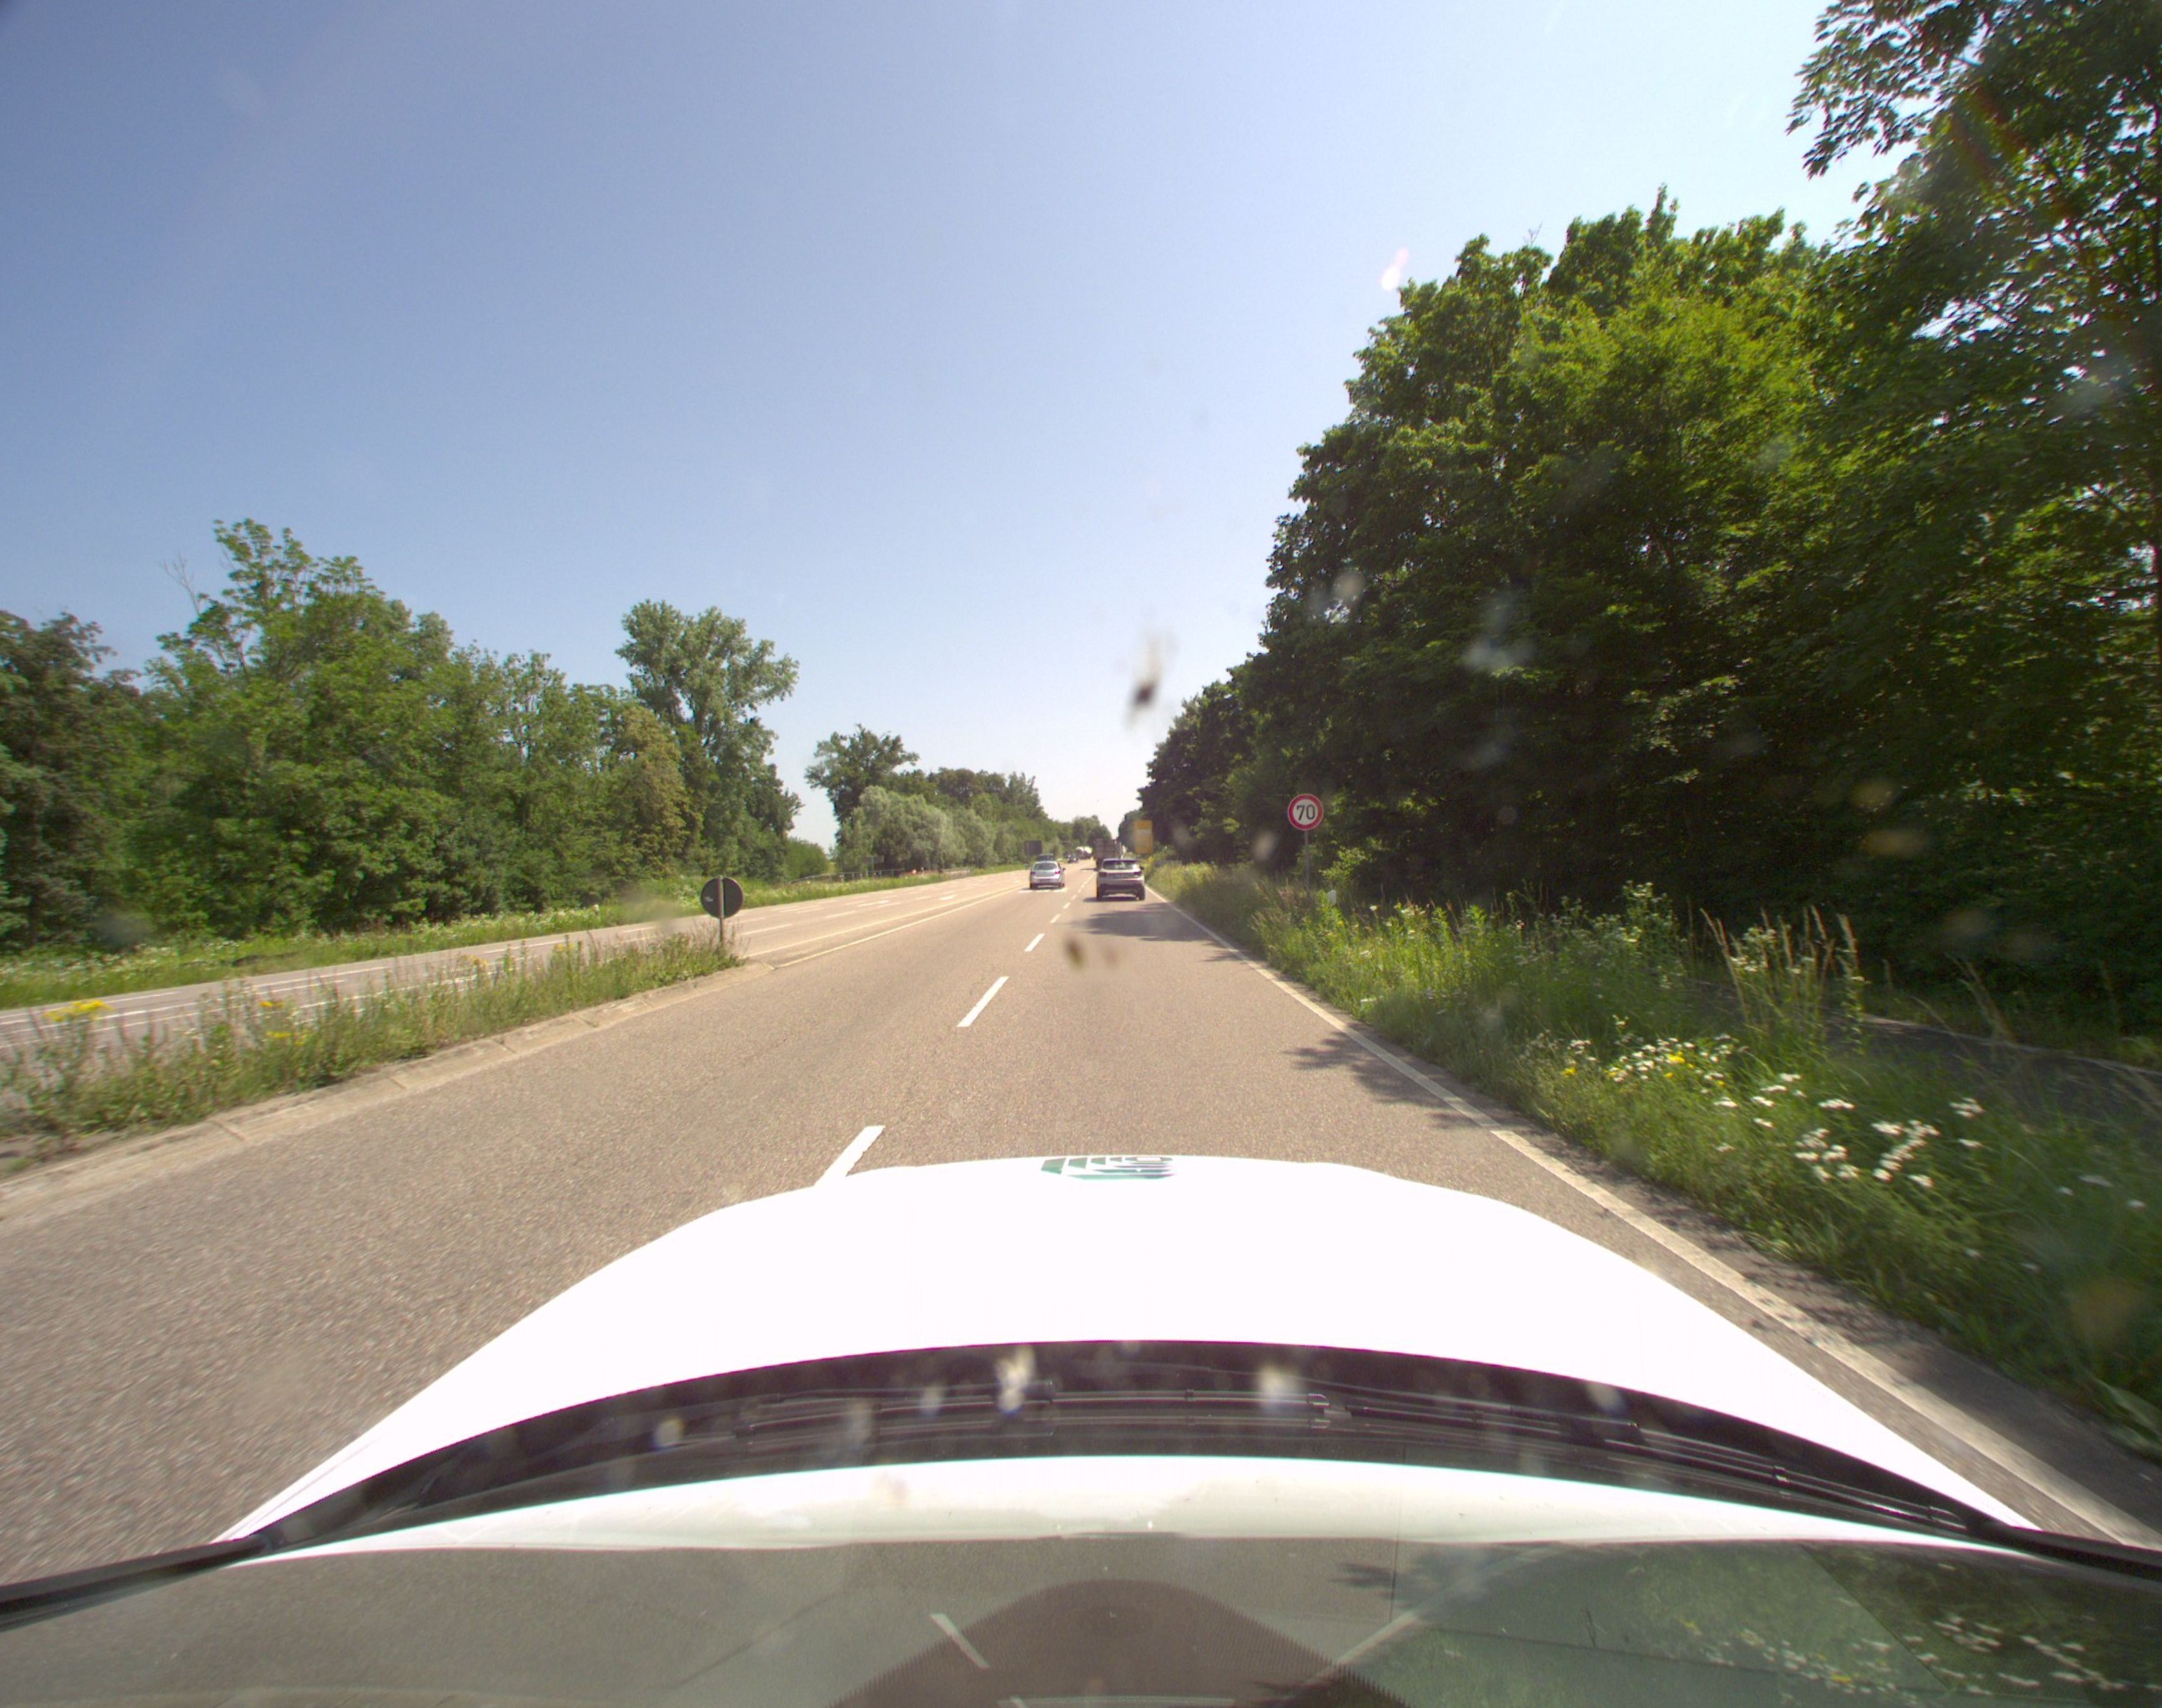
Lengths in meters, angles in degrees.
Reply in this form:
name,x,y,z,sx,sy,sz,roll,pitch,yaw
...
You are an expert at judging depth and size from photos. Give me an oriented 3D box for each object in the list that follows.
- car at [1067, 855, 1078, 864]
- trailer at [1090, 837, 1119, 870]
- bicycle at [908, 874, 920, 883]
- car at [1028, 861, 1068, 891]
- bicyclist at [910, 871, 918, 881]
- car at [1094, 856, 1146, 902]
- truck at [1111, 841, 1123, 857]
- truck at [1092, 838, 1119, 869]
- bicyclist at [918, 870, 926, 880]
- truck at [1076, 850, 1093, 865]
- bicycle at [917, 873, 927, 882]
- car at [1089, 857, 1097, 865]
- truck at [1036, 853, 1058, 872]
name,x,y,z,sx,sy,sz,roll,pitch,yaw
car,-1.929,1.223,185.482,1.986,1.882,4.962,-4,0,2
trailer,3.146,0.001,106.204,3.368,3.989,10.813,-2,-1,3
bicycle,-20.607,3.050,100.629,0.671,1.005,1.806,-4,0,12
car,-1.675,1.094,42.438,1.659,1.430,3.831,-1,0,3
bicyclist,-20.642,2.706,100.568,0.752,1.195,0.594,-4,0,13
car,1.493,0.883,30.674,1.760,1.535,4.004,-2,0,3
truck,10.336,-1.394,234.717,3.484,4.187,10.788,-2,-1,2
truck,3.432,-0.016,110.995,3.319,3.989,6.539,-2,-1,3
bicyclist,-20.277,2.638,103.829,0.730,1.195,0.594,-4,-1,13
truck,0.978,1.132,251.835,3.644,4.105,9.481,-3,0,-8
bicycle,-20.244,2.962,103.901,0.600,1.006,1.561,-4,-1,14
car,3.380,1.865,224.650,1.988,2.013,4.551,-3,0,-1
truck,-5.170,1.275,125.326,2.444,2.656,6.496,-5,0,3
